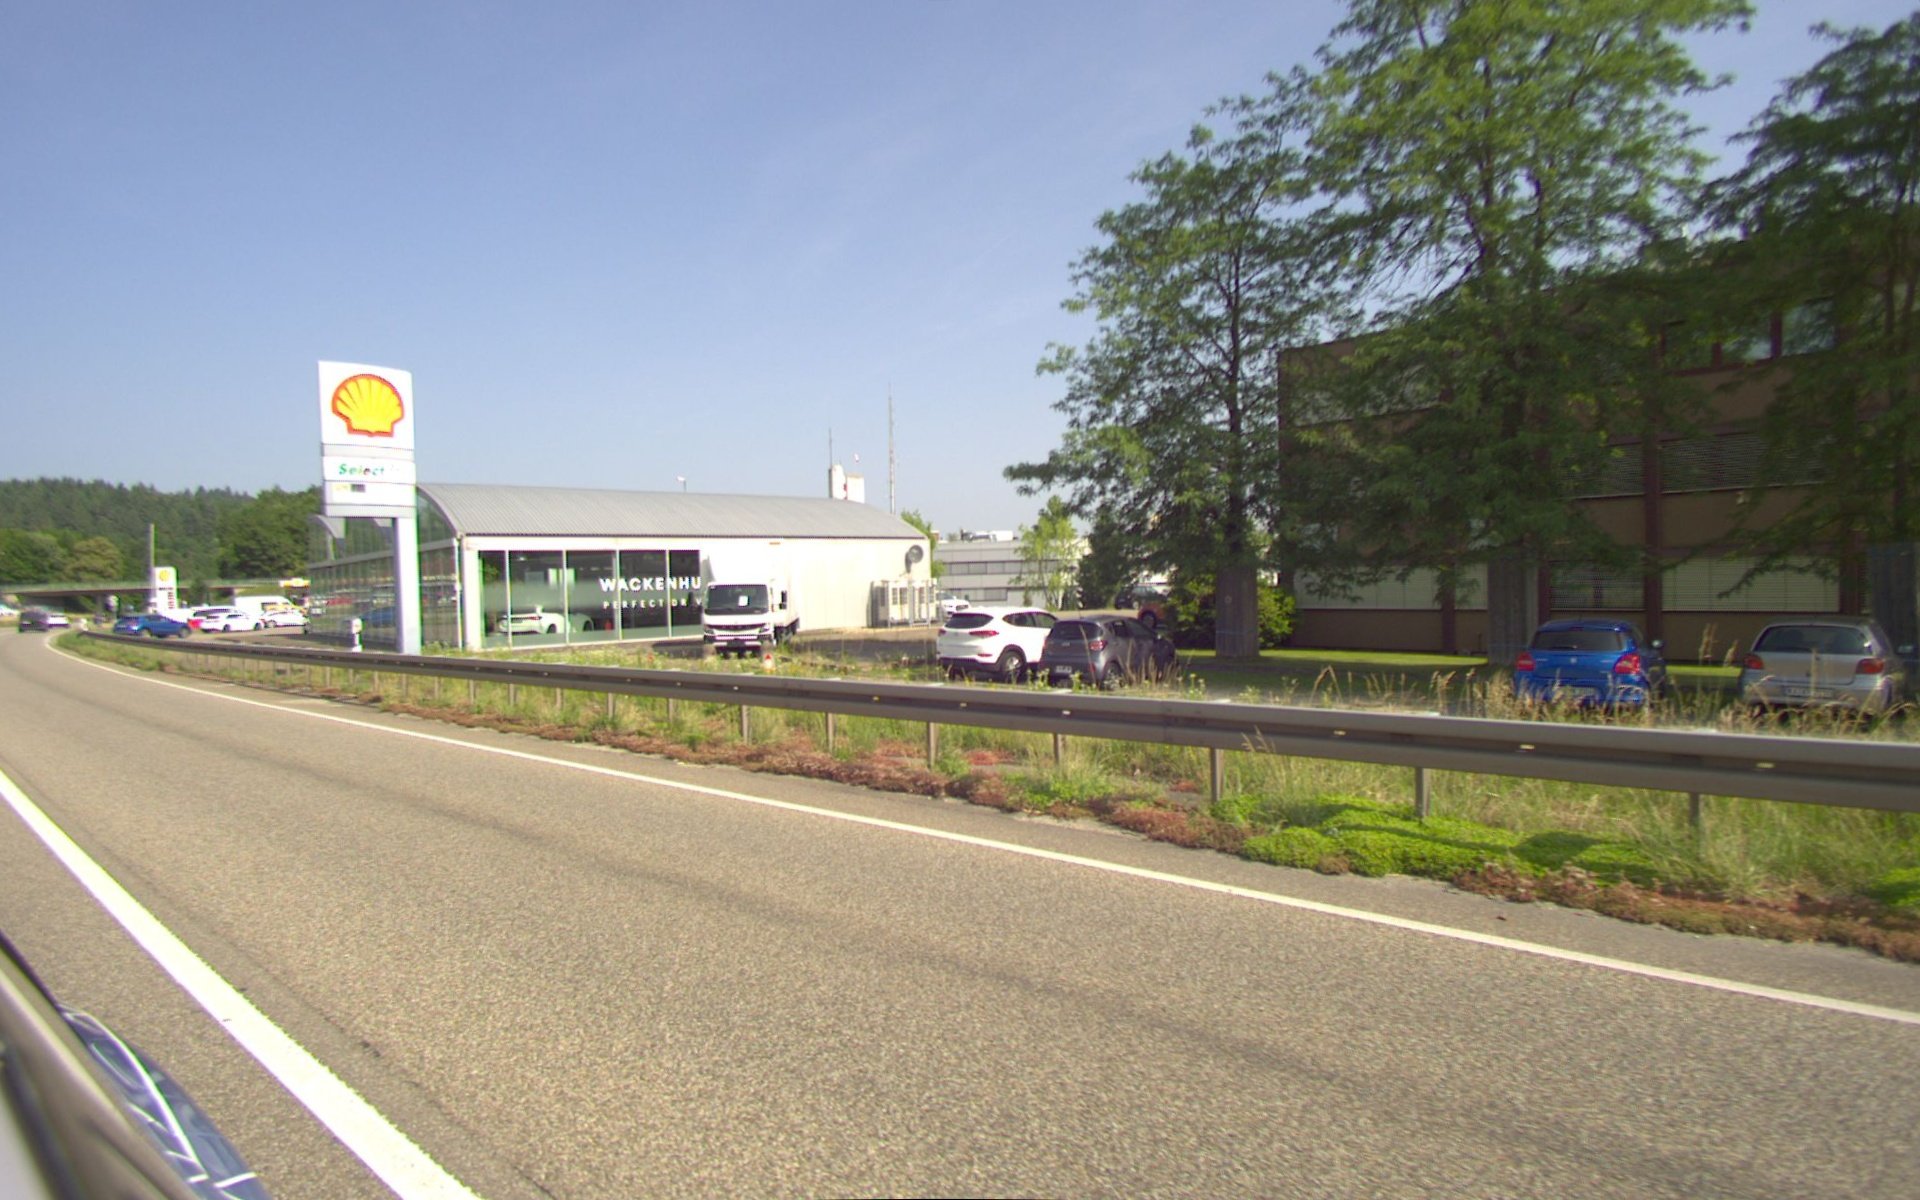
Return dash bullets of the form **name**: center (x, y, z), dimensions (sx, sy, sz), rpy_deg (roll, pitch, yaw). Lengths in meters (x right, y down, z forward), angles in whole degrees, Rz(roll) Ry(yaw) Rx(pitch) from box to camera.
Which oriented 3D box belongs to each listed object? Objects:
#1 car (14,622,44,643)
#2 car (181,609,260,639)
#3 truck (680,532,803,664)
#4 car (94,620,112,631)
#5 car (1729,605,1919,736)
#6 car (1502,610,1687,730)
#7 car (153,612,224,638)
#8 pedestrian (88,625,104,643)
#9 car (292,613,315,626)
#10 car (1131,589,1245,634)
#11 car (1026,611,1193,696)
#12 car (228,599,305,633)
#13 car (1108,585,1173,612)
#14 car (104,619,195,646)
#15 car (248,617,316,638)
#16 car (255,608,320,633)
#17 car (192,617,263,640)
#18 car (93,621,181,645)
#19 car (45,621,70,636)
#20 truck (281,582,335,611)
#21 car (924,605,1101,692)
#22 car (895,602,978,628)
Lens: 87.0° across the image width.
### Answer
- **car**: center (-85.185, 2.950, 92.651), dimensions (1.891, 1.899, 4.917), rpy_deg (1, -1, -41)
- **car**: center (-57.979, 1.839, 79.405), dimensions (4.735, 1.996, 2.231), rpy_deg (-4, 2, -42)
- **truck**: center (-6.705, -0.089, 32.260), dimensions (2.763, 3.583, 8.222), rpy_deg (-2, 1, -5)
- **car**: center (-121.391, 3.635, 143.320), dimensions (1.729, 1.486, 4.296), rpy_deg (1, -1, -37)
- **car**: center (12.650, 0.894, 14.581), dimensions (3.702, 1.511, 1.860), rpy_deg (-2, 1, -42)
- **car**: center (10.049, 0.988, 15.919), dimensions (1.931, 1.511, 3.709), rpy_deg (-1, 1, 40)
- **car**: center (-66.094, 2.139, 86.765), dimensions (4.615, 1.871, 2.146), rpy_deg (-3, 1, -42)
- **pedestrian**: center (-86.392, 3.386, 101.218), dimensions (0.835, 1.702, 1.148), rpy_deg (-1, 0, -22)
- **car**: center (-85.944, 2.541, 132.544), dimensions (1.691, 1.578, 4.673), rpy_deg (-1, 0, -23)
- **car**: center (8.616, 0.393, 38.487), dimensions (1.704, 1.616, 4.005), rpy_deg (-1, 1, -43)
- **car**: center (3.266, 1.063, 21.636), dimensions (1.930, 1.511, 3.711), rpy_deg (-1, 1, 39)
- **car**: center (-64.765, 1.474, 94.594), dimensions (5.651, 2.765, 2.289), rpy_deg (-4, 2, -41)
- **car**: center (11.407, -0.118, 63.878), dimensions (3.932, 1.616, 1.735), rpy_deg (-1, 1, -33)
- **car**: center (-50.229, 1.999, 62.808), dimensions (1.962, 1.518, 4.222), rpy_deg (-1, 0, 8)
- **car**: center (-56.391, 2.276, 84.237), dimensions (4.412, 1.409, 1.969), rpy_deg (-3, 1, -42)
- **car**: center (-57.635, 1.717, 86.750), dimensions (4.328, 1.821, 2.004), rpy_deg (-4, 2, -42)
- **car**: center (-54.473, 2.098, 75.369), dimensions (1.876, 1.413, 4.221), rpy_deg (-1, 1, 8)
- **car**: center (-53.031, 2.119, 65.309), dimensions (1.832, 1.378, 4.384), rpy_deg (-1, 0, 8)
- **car**: center (-99.930, 3.165, 112.050), dimensions (1.769, 1.642, 4.235), rpy_deg (1, -1, -38)
- **truck**: center (-98.248, -0.528, 152.921), dimensions (3.010, 4.165, 16.826), rpy_deg (-1, 0, -19)
- **car**: center (1.317, 1.024, 23.383), dimensions (1.930, 1.667, 4.308), rpy_deg (-1, 1, 39)
- **car**: center (-1.202, 0.742, 50.147), dimensions (3.999, 1.209, 1.704), rpy_deg (-1, 0, 42)
